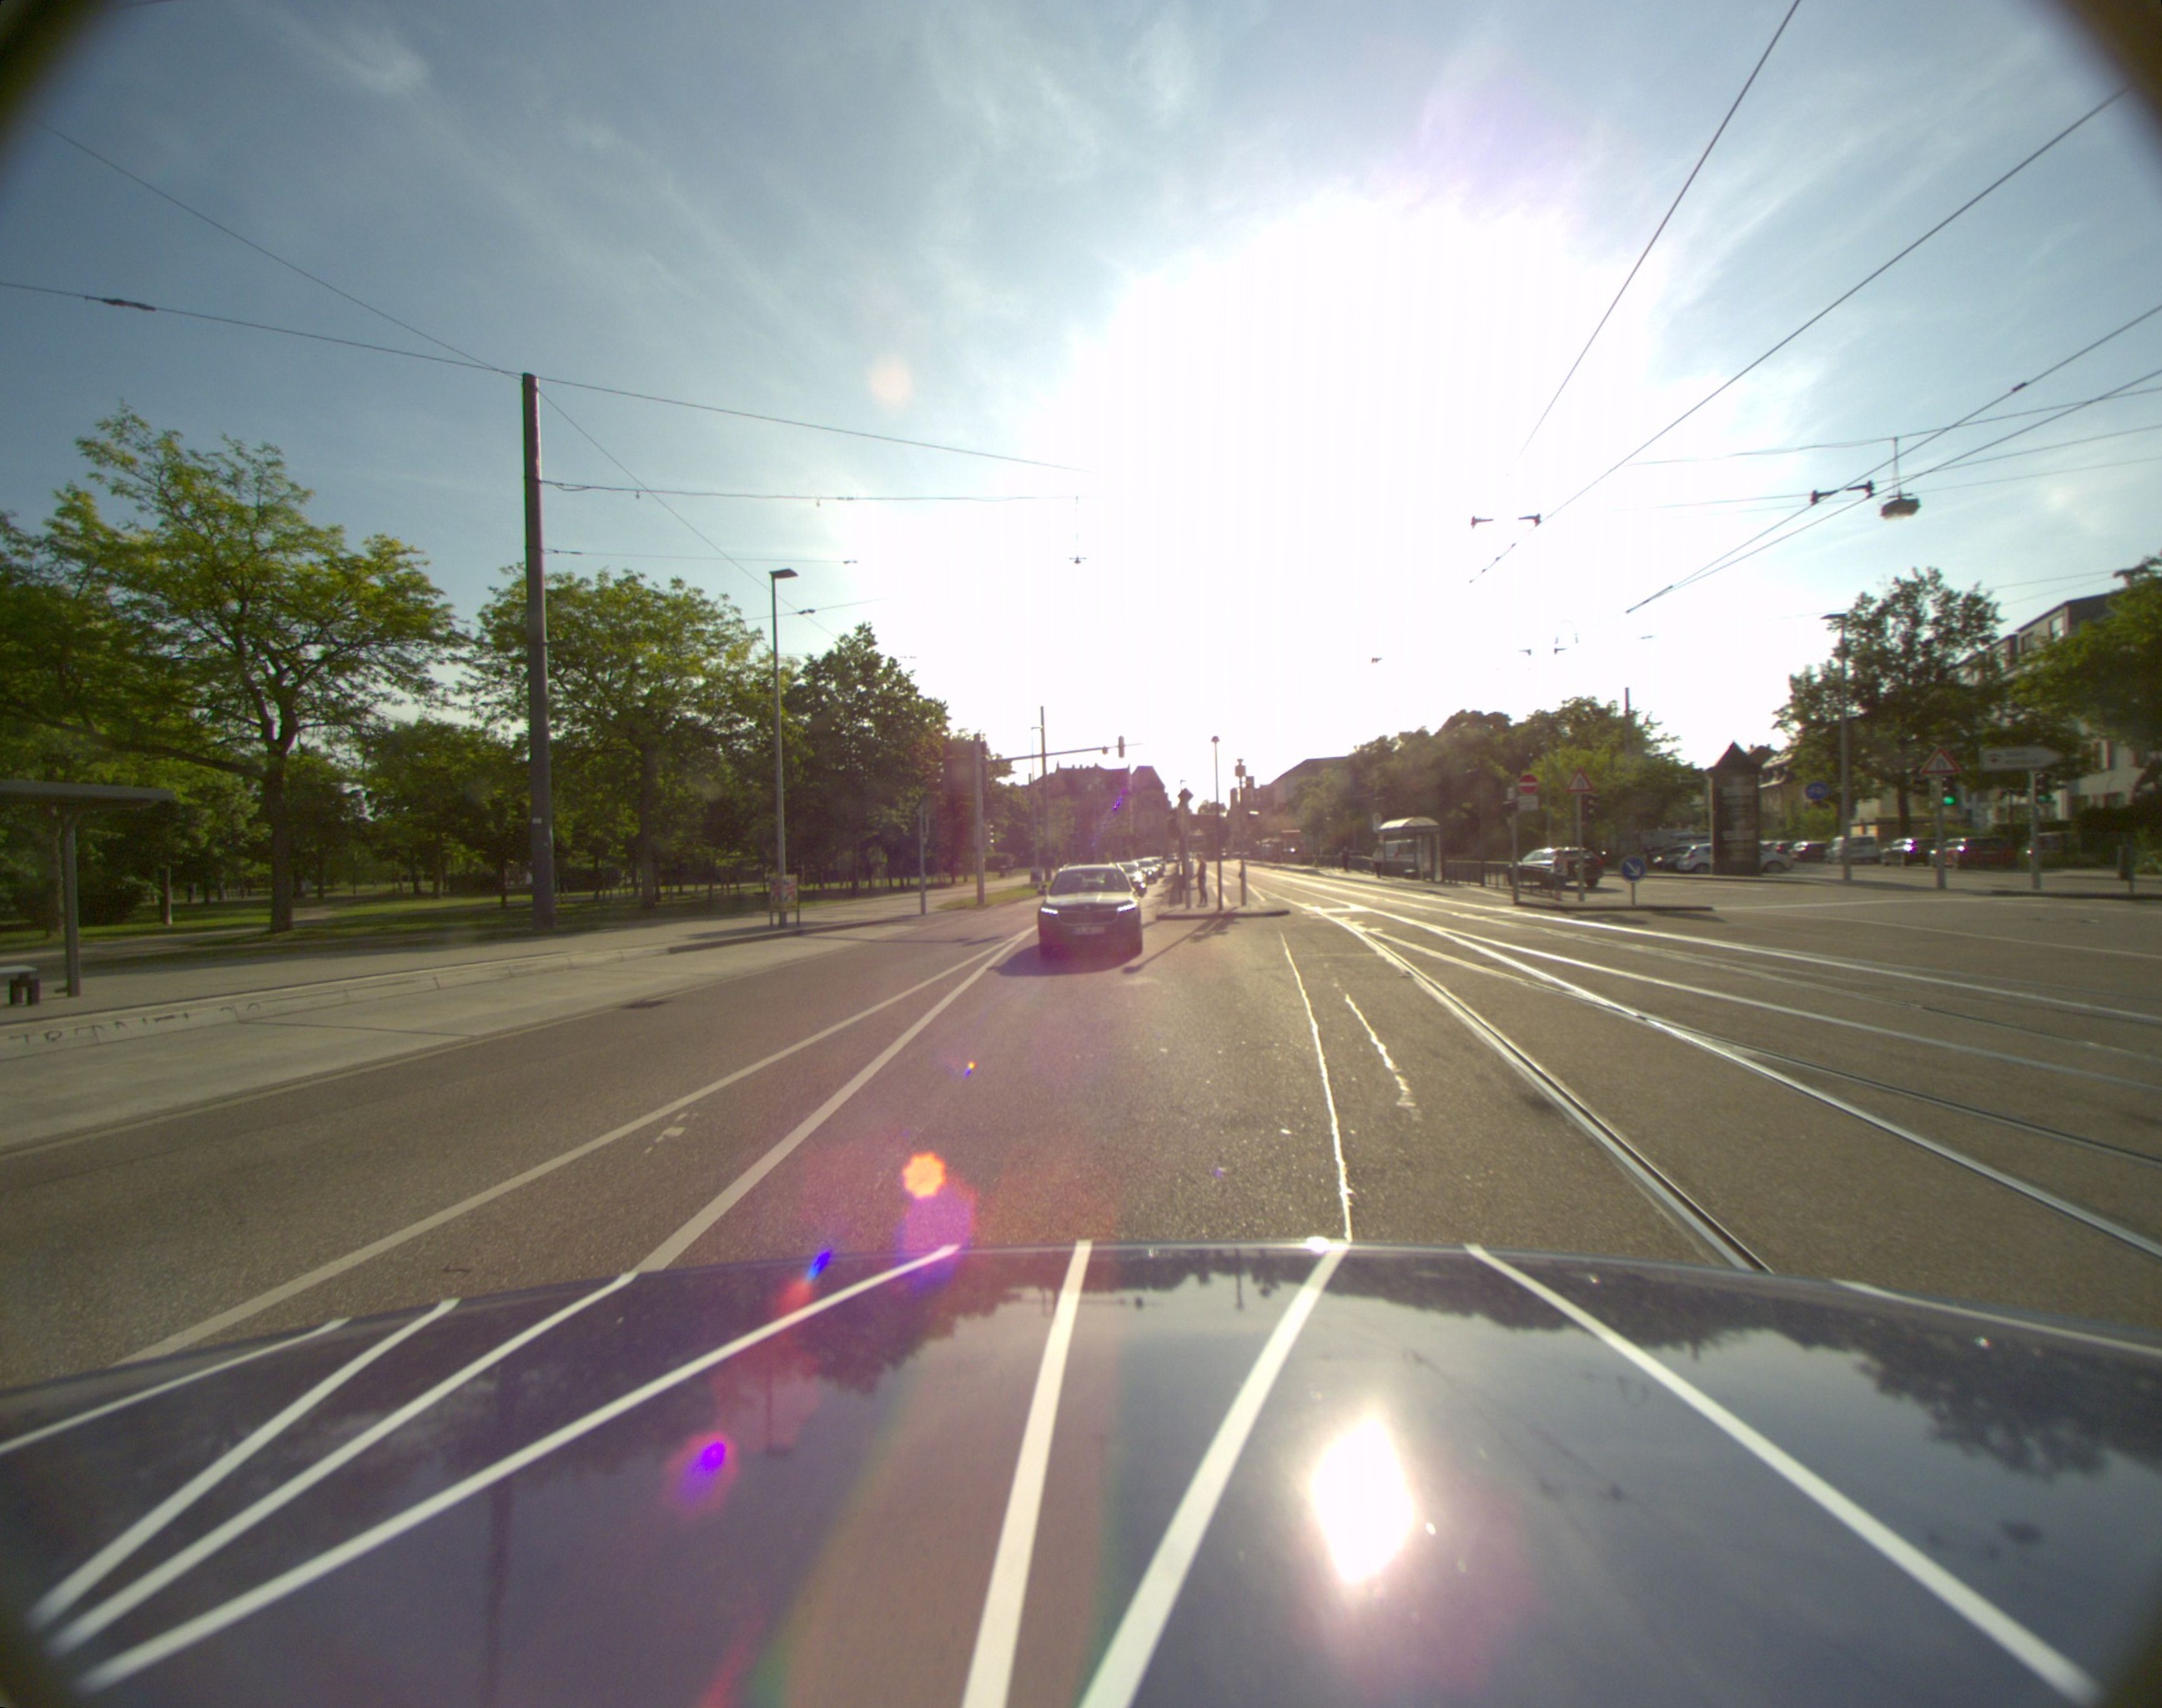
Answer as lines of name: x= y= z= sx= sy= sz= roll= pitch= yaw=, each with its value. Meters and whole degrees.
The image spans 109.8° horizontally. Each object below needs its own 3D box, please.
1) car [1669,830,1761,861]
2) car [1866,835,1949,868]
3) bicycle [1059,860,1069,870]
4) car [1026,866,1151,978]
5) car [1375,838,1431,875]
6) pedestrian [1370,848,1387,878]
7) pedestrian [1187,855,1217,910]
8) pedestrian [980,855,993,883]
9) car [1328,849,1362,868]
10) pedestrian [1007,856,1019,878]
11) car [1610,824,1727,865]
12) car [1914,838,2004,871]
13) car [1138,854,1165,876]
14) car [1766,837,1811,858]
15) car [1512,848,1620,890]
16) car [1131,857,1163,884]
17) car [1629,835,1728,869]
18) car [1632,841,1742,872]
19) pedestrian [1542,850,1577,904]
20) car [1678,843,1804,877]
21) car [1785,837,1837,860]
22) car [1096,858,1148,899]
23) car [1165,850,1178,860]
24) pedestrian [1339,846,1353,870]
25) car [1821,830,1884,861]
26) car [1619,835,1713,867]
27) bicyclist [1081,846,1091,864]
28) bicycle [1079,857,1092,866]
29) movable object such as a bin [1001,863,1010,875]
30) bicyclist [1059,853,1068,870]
car: x=38.680 y=-0.512 z=46.498 sx=3.990 sy=1.744 sz=1.858 roll=-1 pitch=0 yaw=26
car: x=42.528 y=-0.138 z=39.201 sx=1.813 sy=1.563 sz=4.008 roll=-1 pitch=0 yaw=31
bicycle: x=-1.758 y=1.114 z=77.548 sx=0.740 sy=0.912 sz=2.095 roll=-1 pitch=0 yaw=6
car: x=0.284 y=1.040 z=13.247 sx=1.781 sy=1.496 sz=4.001 roll=-3 pitch=0 yaw=5
car: x=21.138 y=0.164 z=50.159 sx=2.181 sy=2.226 sz=5.257 roll=-1 pitch=0 yaw=9
pedestrian: x=16.342 y=0.484 z=41.783 sx=0.707 sy=1.618 sz=0.728 roll=-1 pitch=1 yaw=7
pedestrian: x=3.768 y=0.871 z=23.656 sx=0.882 sy=1.660 sz=0.672 roll=-1 pitch=1 yaw=10
pedestrian: x=-5.814 y=0.918 z=46.785 sx=0.558 sy=1.691 sz=0.662 roll=-1 pitch=1 yaw=7
car: x=21.948 y=0.390 z=63.349 sx=1.680 sy=1.517 sz=4.126 roll=-1 pitch=-1 yaw=5
pedestrian: x=-4.955 y=0.950 z=55.462 sx=0.620 sy=1.641 sz=0.663 roll=-1 pitch=1 yaw=16
car: x=43.473 y=-0.658 z=56.466 sx=6.585 sy=2.792 sz=1.776 roll=-2 pitch=0 yaw=28
car: x=39.869 y=-0.007 z=34.601 sx=1.545 sy=1.418 sz=3.872 roll=-1 pitch=0 yaw=31
car: x=5.204 y=0.819 z=56.030 sx=1.780 sy=1.496 sz=4.002 roll=-1 pitch=0 yaw=8
car: x=55.168 y=-0.529 z=59.313 sx=1.813 sy=1.528 sz=4.008 roll=-1 pitch=0 yaw=31
car: x=19.092 y=0.590 z=30.189 sx=1.770 sy=1.485 sz=4.748 roll=-1 pitch=-1 yaw=8
car: x=3.977 y=0.938 z=45.440 sx=1.671 sy=1.496 sz=3.874 roll=-1 pitch=0 yaw=8
car: x=32.945 y=-0.107 z=42.019 sx=3.990 sy=1.744 sz=1.858 roll=-1 pitch=0 yaw=26
car: x=29.853 y=0.137 z=37.565 sx=3.989 sy=1.420 sz=1.776 roll=-1 pitch=0 yaw=28
pedestrian: x=14.237 y=0.664 z=22.620 sx=0.591 sy=1.580 sz=0.716 roll=-1 pitch=1 yaw=4
car: x=29.699 y=0.278 z=34.337 sx=3.989 sy=1.420 sz=1.776 roll=-1 pitch=0 yaw=28
car: x=52.150 y=-0.405 z=54.365 sx=1.813 sy=1.604 sz=4.008 roll=-1 pitch=0 yaw=31
car: x=1.771 y=0.977 z=31.561 sx=1.780 sy=1.496 sz=4.002 roll=-1 pitch=0 yaw=8
car: x=15.677 y=0.089 z=131.630 sx=1.998 sy=1.674 sz=4.002 roll=-1 pitch=0 yaw=6
pedestrian: x=18.156 y=0.253 z=52.039 sx=0.736 sy=1.618 sz=0.690 roll=-1 pitch=1 yaw=7
car: x=48.299 y=-0.519 z=47.661 sx=1.813 sy=1.789 sz=4.007 roll=-1 pitch=0 yaw=30
car: x=33.692 y=-0.162 z=43.874 sx=3.990 sy=1.744 sz=1.858 roll=-1 pitch=0 yaw=26
bicyclist: x=0.481 y=0.112 z=77.736 sx=0.730 sy=1.763 sz=1.016 roll=-1 pitch=1 yaw=15
bicycle: x=0.444 y=0.758 z=77.593 sx=0.739 sy=0.912 sz=2.097 roll=-1 pitch=0 yaw=17
movable object such as a bin: x=-5.902 y=1.174 z=59.256 sx=0.526 sy=0.898 sz=0.502 roll=-2 pitch=1 yaw=-44
bicyclist: x=-1.755 y=0.757 z=77.505 sx=0.753 sy=1.763 sz=1.119 roll=-1 pitch=1 yaw=6
